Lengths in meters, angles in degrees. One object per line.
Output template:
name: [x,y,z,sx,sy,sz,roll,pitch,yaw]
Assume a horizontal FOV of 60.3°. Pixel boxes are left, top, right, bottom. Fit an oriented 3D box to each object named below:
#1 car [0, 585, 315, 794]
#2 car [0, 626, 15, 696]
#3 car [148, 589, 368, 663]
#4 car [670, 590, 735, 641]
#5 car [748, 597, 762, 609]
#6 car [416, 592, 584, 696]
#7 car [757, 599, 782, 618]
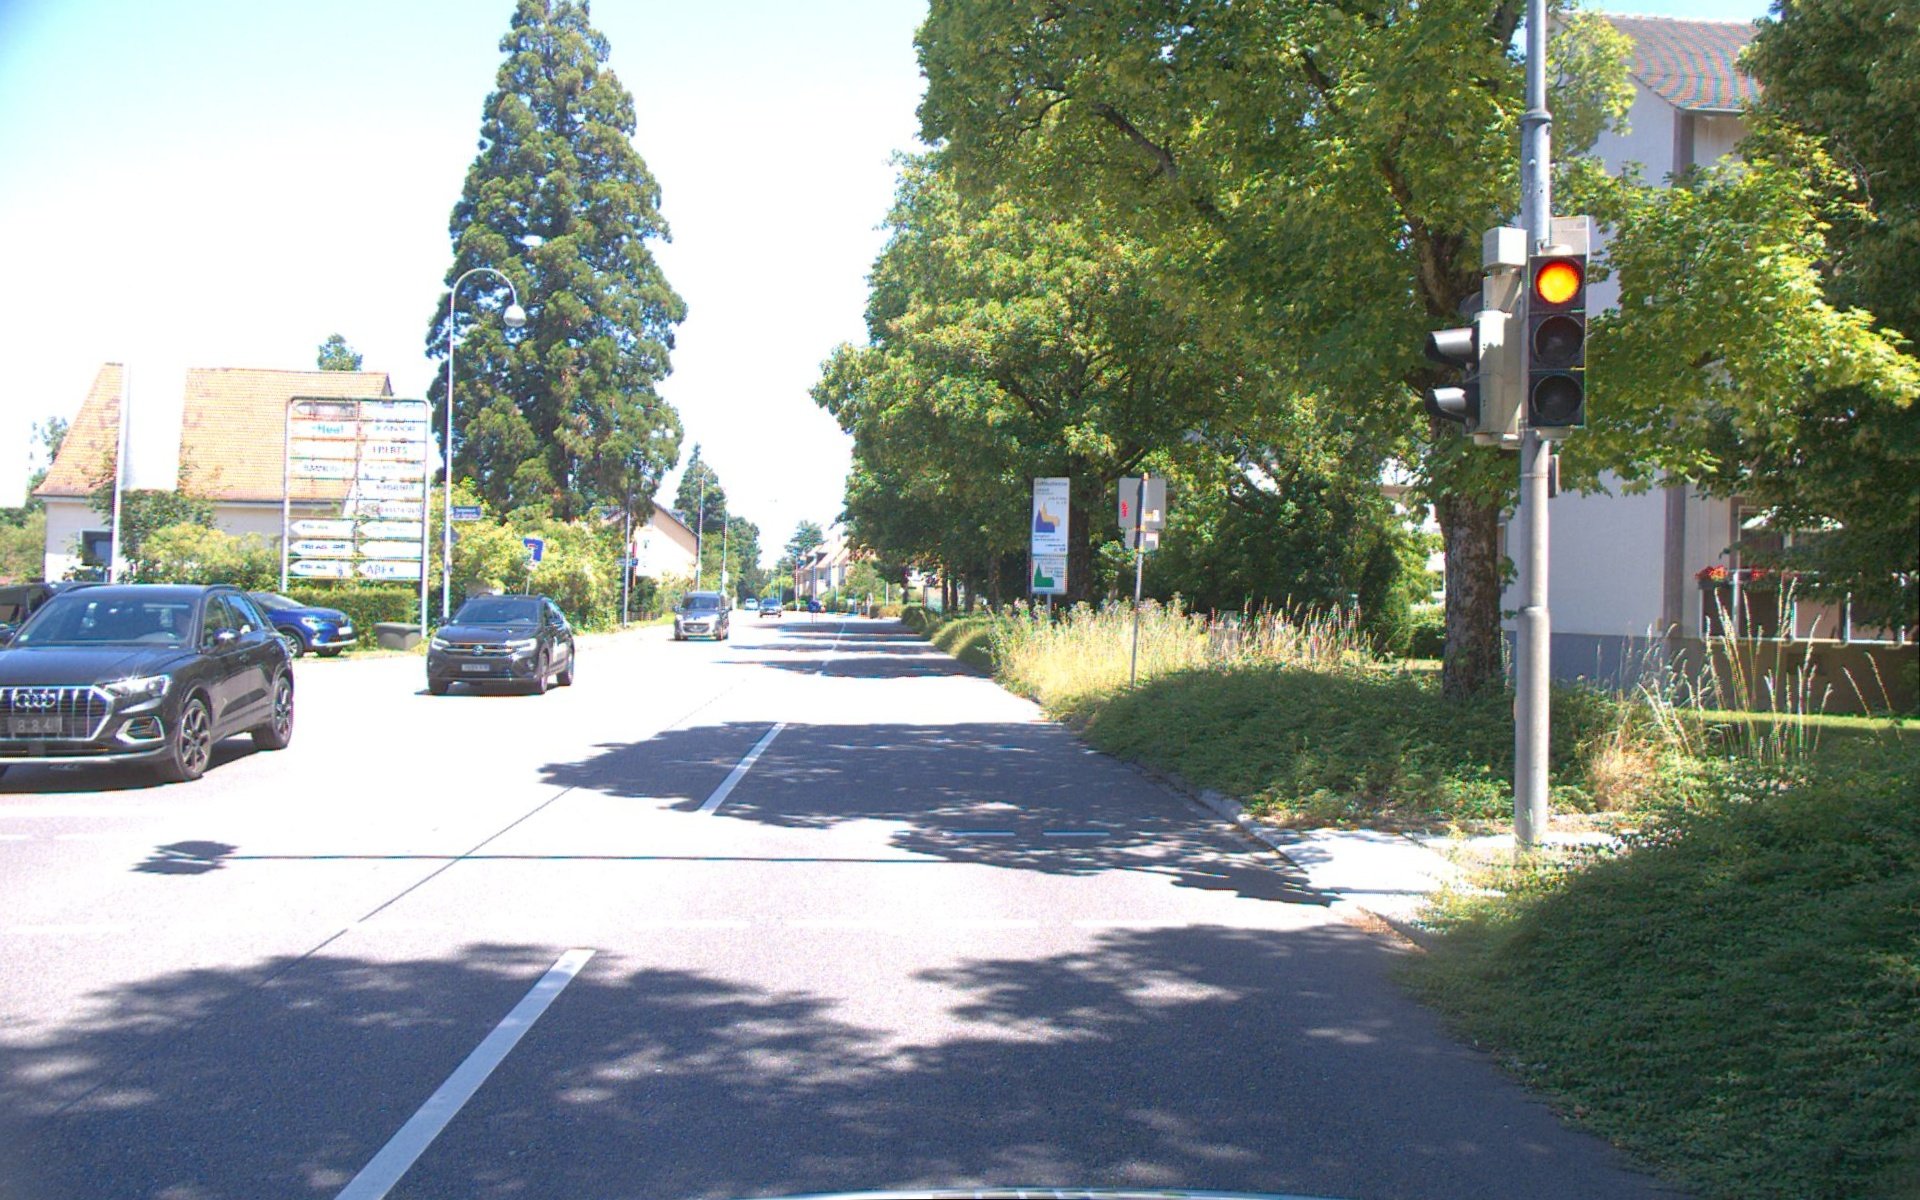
car: [-7.271,0.678,14.663,1.890,1.582,4.295,0,0,-8]
car: [-24.740,1.525,40.073,1.775,1.752,4.081,1,0,-8]
car: [-15.203,0.542,35.906,4.047,1.531,1.779,0,0,8]
car: [-9.475,0.537,61.123,1.774,1.793,4.569,1,0,-1]
car: [-29.451,0.482,238.007,1.647,1.713,3.998,0,0,-2]
car: [-7.248,0.646,26.451,1.832,1.533,4.049,0,0,-5]
car: [-15.825,0.716,137.592,1.758,1.563,4.312,1,0,-3]
